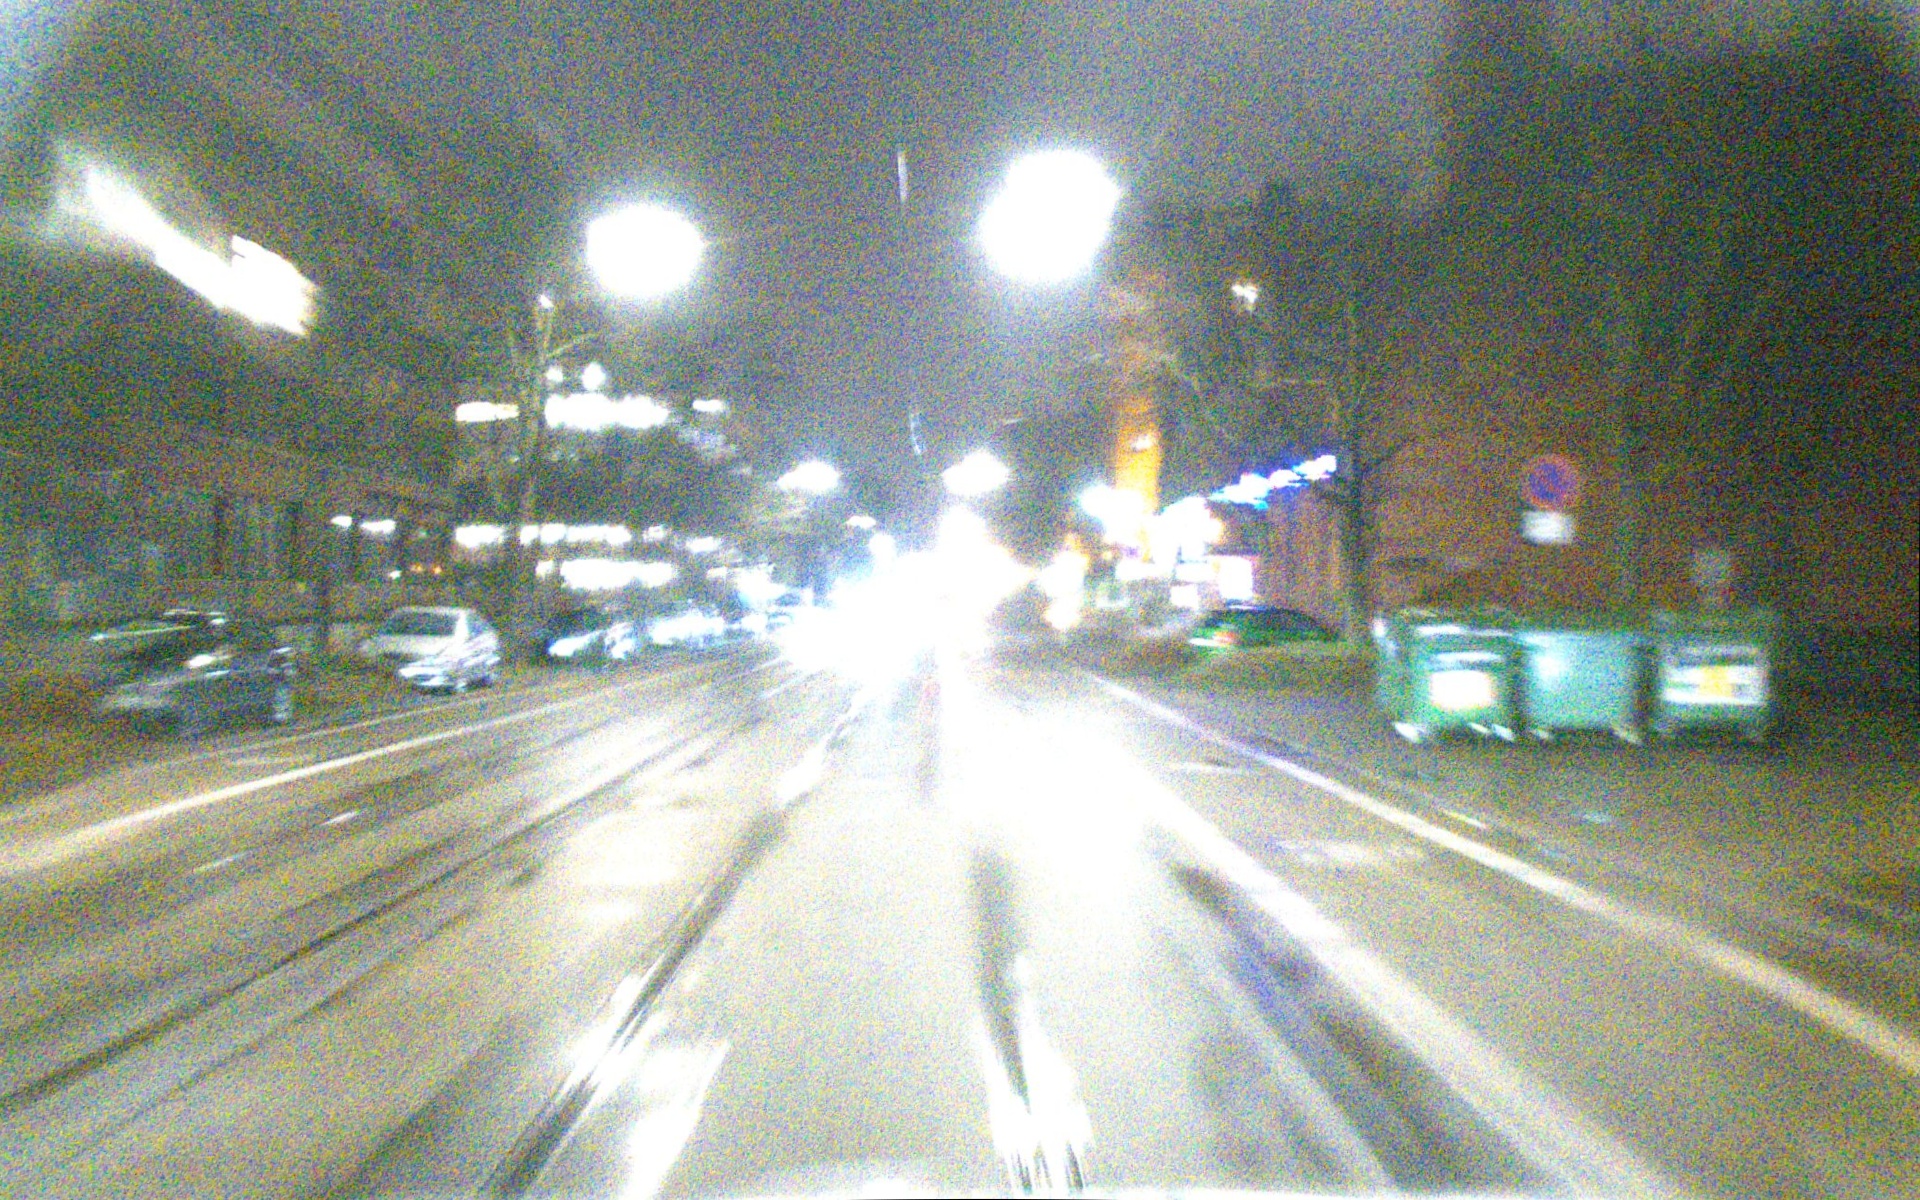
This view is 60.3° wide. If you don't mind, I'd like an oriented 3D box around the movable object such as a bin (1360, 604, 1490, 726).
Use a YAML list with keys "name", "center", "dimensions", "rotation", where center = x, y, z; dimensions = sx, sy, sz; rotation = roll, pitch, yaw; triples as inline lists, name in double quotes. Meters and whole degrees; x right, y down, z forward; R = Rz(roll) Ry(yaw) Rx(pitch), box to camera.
- name: "movable object such as a bin"
  center: [5.748, 0.789, 20.522]
  dimensions: [1.339, 1.447, 1.073]
  rotation: [-2, -1, 4]

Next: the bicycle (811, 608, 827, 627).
- name: "bicycle"
  center: [-8.201, 1.020, 96.328]
  dimensions: [0.766, 1.101, 1.918]
  rotation: [-2, 0, -1]

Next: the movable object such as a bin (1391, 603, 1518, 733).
- name: "movable object such as a bin"
  center: [5.773, 0.775, 19.386]
  dimensions: [1.183, 1.447, 1.101]
  rotation: [-2, -1, 4]

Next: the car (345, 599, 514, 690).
- name: "car"
  center: [-9.447, 0.740, 29.866]
  dimensions: [1.851, 1.488, 4.954]
  rotation: [-1, 0, -5]

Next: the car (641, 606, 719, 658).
- name: "car"
  center: [-9.417, 1.055, 55.948]
  dimensions: [1.943, 1.660, 4.516]
  rotation: [0, 0, -1]

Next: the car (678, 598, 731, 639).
- name: "car"
  center: [-9.720, 0.682, 63.235]
  dimensions: [1.657, 1.446, 3.911]
  rotation: [-1, 0, -4]

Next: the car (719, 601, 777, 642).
- name: "car"
  center: [-9.473, 0.937, 74.133]
  dimensions: [1.929, 1.684, 4.601]
  rotation: [2, 0, 0]

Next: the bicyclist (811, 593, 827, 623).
- name: "bicyclist"
  center: [-8.220, 0.473, 96.348]
  dimensions: [0.766, 1.684, 1.206]
  rotation: [-2, 0, -1]

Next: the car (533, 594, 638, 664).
- name: "car"
  center: [-9.440, 0.718, 42.029]
  dimensions: [1.843, 1.572, 4.396]
  rotation: [3, -1, -4]

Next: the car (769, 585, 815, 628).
- name: "car"
  center: [-10.678, 0.374, 105.457]
  dimensions: [2.140, 2.637, 6.393]
  rotation: [0, 1, 1]

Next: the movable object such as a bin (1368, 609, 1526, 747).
- name: "movable object such as a bin"
  center: [5.336, 0.835, 18.213]
  dimensions: [1.296, 1.433, 1.158]
  rotation: [-1, -1, -6]

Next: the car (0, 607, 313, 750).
- name: "car"
  center: [-9.115, 0.820, 19.194]
  dimensions: [1.803, 1.448, 4.206]
  rotation: [-1, 0, -4]

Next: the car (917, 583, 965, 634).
- name: "car"
  center: [-0.956, 0.422, 80.922]
  dimensions: [2.199, 2.402, 4.392]
  rotation: [0, 0, -2]

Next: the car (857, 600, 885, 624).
- name: "car"
  center: [-6.084, 0.797, 113.315]
  dimensions: [1.740, 1.544, 4.050]
  rotation: [0, 0, -1]

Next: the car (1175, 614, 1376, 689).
- name: "car"
  center: [6.959, 1.091, 36.453]
  dimensions: [4.043, 1.564, 1.944]
  rotation: [0, 0, -27]
